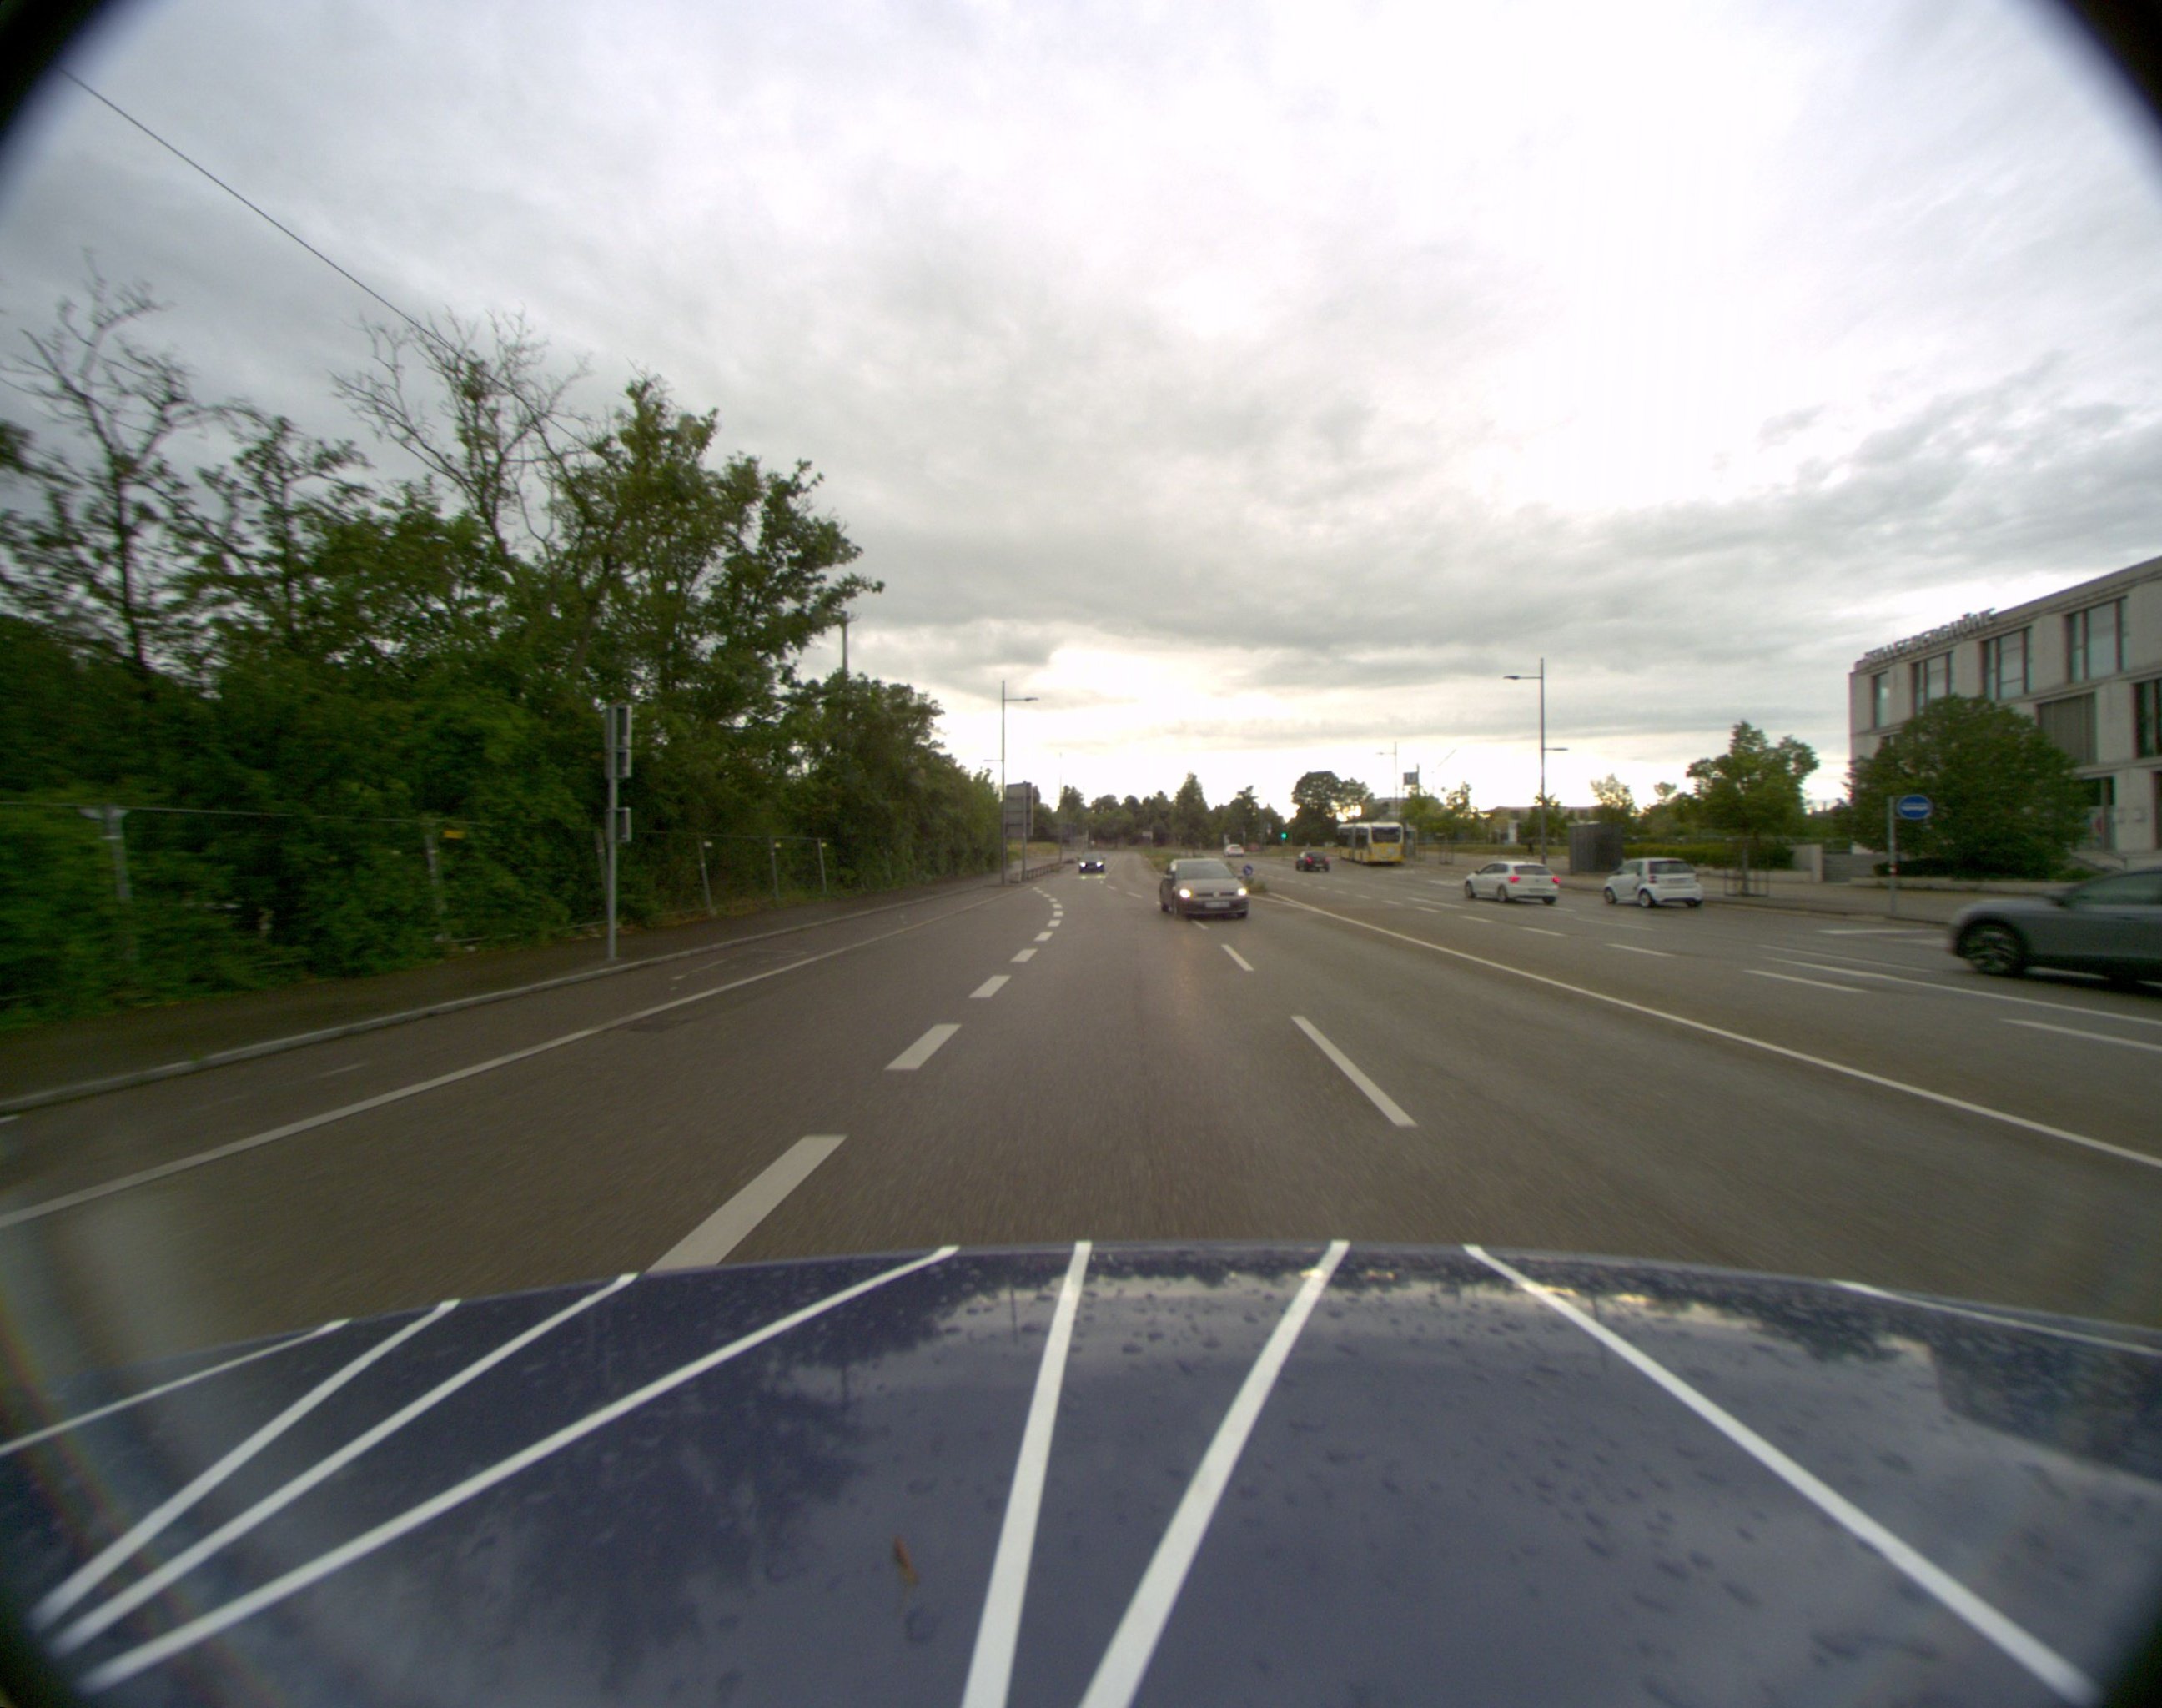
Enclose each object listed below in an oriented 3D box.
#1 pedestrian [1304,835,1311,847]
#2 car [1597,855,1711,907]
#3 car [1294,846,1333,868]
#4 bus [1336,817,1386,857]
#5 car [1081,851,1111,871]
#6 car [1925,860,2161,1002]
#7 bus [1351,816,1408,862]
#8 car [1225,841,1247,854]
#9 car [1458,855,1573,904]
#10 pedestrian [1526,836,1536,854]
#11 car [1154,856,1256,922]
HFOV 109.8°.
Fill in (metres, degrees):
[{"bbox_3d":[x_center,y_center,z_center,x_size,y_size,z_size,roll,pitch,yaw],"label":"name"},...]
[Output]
[{"bbox_3d":[30.196,-1.735,101.320,0.616,1.584,0.813,-1,0,-1],"label":"pedestrian"},{"bbox_3d":[18.592,0.837,24.811,1.617,1.499,2.973,-2,1,4],"label":"car"},{"bbox_3d":[16.780,0.187,54.987,1.850,1.454,3.867,1,1,4],"label":"car"},{"bbox_3d":[25.949,-1.675,70.913,2.826,3.453,9.979,-2,2,11],"label":"bus"},{"bbox_3d":[1.027,0.476,54.889,1.990,1.391,4.176,-1,0,-1],"label":"car"},{"bbox_3d":[13.434,0.950,9.018,1.836,1.563,4.594,2,1,4],"label":"car"},{"bbox_3d":[24.166,-1.307,61.964,2.826,3.453,8.235,-2,2,11],"label":"bus"},{"bbox_3d":[18.420,-0.809,90.691,1.998,1.410,4.513,-1,1,4],"label":"car"},{"bbox_3d":[15.331,0.841,27.119,1.877,1.422,4.176,2,1,4],"label":"car"},{"bbox_3d":[38.120,-0.771,64.369,0.490,1.520,0.665,-1,0,-1],"label":"pedestrian"},{"bbox_3d":[3.066,0.810,19.634,1.810,1.421,4.196,-1,1,-2],"label":"car"}]
